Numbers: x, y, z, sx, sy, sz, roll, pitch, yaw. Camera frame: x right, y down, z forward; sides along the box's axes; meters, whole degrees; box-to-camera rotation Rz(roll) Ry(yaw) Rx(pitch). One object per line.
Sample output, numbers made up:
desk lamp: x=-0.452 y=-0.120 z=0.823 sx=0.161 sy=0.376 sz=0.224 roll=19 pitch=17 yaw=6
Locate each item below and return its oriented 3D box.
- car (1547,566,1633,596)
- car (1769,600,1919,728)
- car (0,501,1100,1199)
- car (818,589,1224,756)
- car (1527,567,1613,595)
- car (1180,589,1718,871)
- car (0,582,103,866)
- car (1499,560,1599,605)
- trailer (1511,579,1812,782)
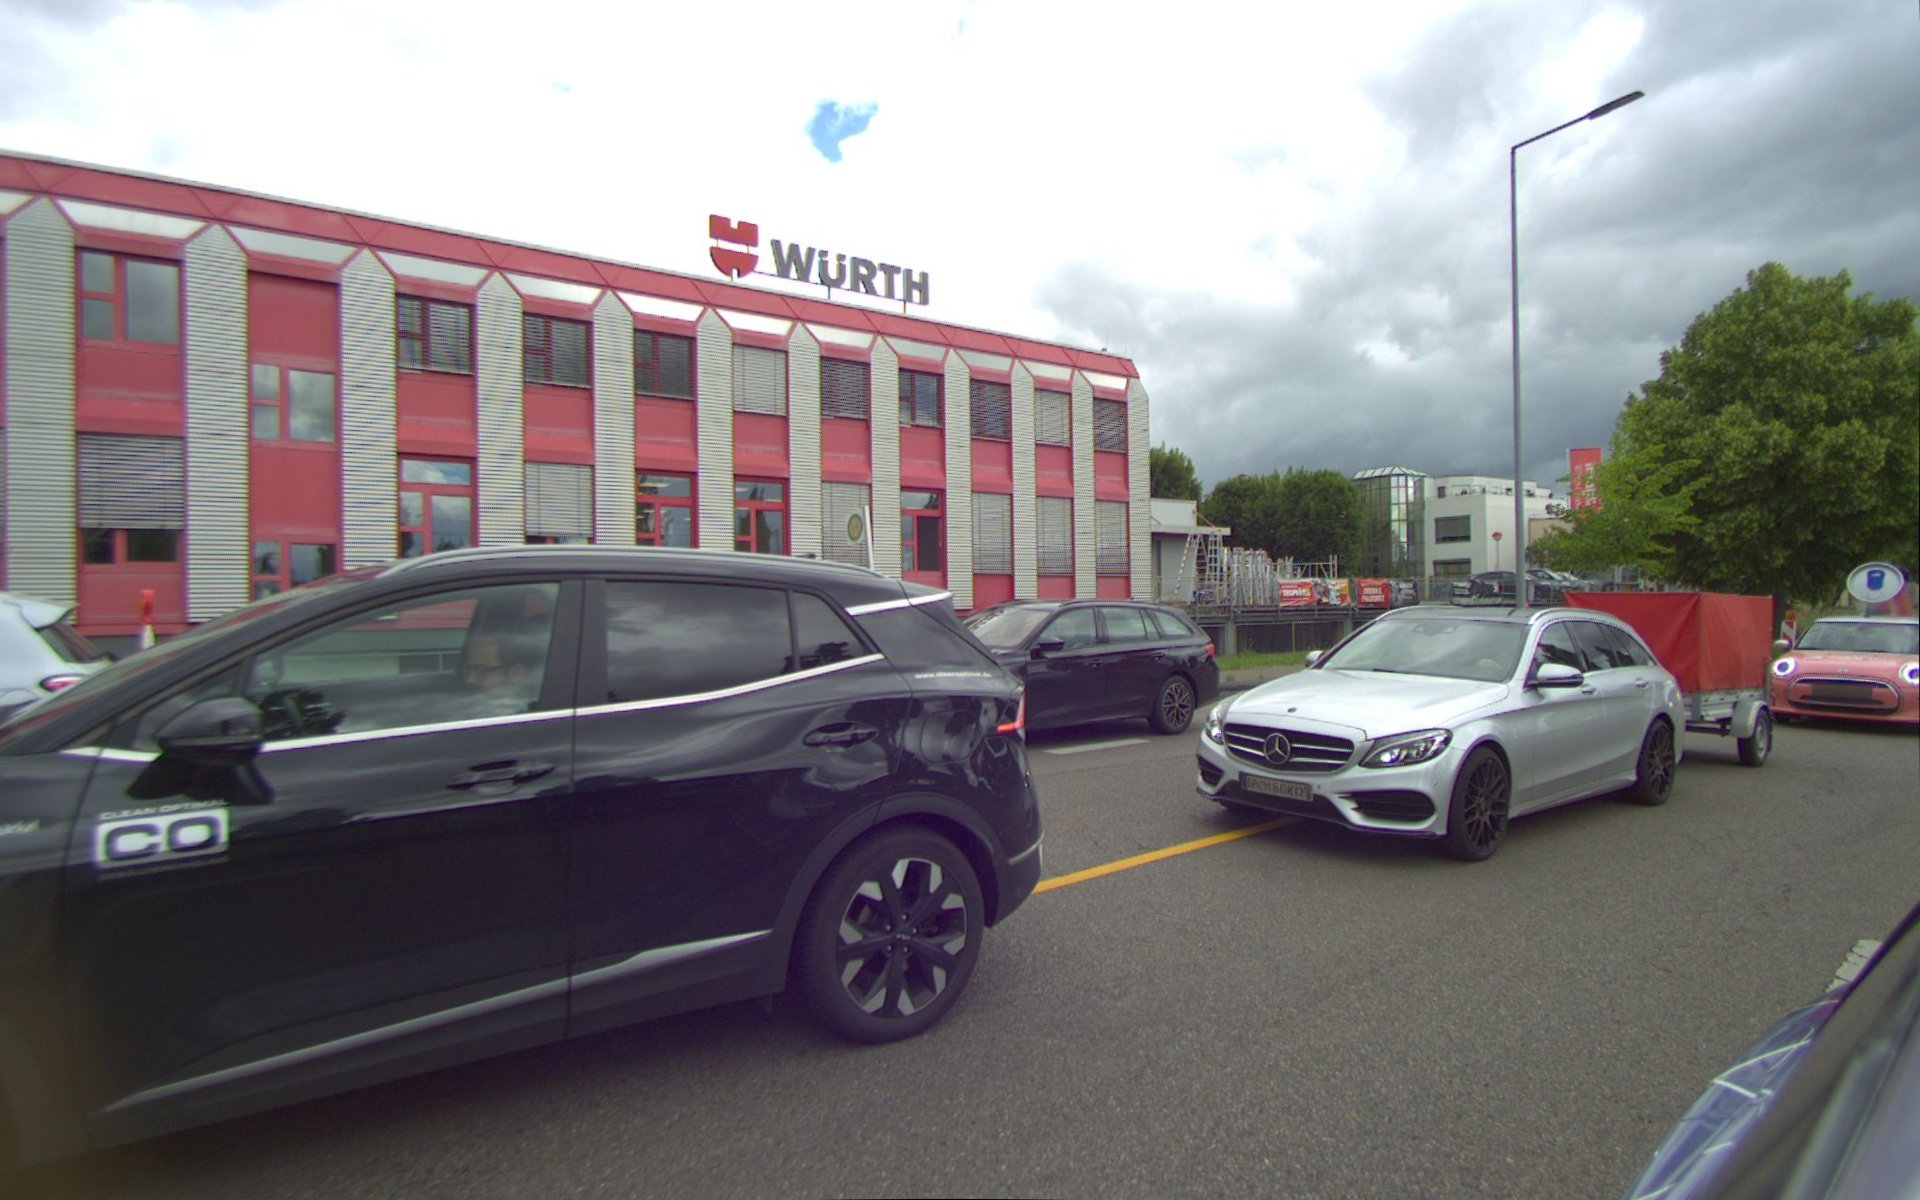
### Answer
car: x=36.656 y=-1.079 z=58.969 sx=1.720 sy=1.502 sz=3.941 roll=3 pitch=-3 yaw=-31
car: x=12.214 y=0.751 z=13.364 sx=3.631 sy=1.476 sz=1.722 roll=0 pitch=0 yaw=-40
car: x=-1.771 y=0.588 z=3.351 sx=4.320 sy=1.581 sz=1.851 roll=0 pitch=-1 yaw=-35
car: x=0.768 y=0.628 z=10.839 sx=4.200 sy=1.451 sz=1.840 roll=0 pitch=0 yaw=-38
car: x=34.047 y=-1.027 z=56.554 sx=1.720 sy=1.382 sz=3.769 roll=2 pitch=-2 yaw=-32
car: x=3.690 y=0.667 z=7.275 sx=4.406 sy=1.466 sz=1.676 roll=0 pitch=0 yaw=-37
car: x=-6.621 y=0.643 z=4.972 sx=3.623 sy=1.476 sz=1.626 roll=0 pitch=0 yaw=-39
car: x=27.797 y=-0.790 z=47.858 sx=1.610 sy=1.984 sz=3.769 roll=2 pitch=-2 yaw=-31
trailer: x=6.727 y=0.643 z=9.612 sx=3.242 sy=1.614 sz=1.413 roll=0 pitch=0 yaw=-37
